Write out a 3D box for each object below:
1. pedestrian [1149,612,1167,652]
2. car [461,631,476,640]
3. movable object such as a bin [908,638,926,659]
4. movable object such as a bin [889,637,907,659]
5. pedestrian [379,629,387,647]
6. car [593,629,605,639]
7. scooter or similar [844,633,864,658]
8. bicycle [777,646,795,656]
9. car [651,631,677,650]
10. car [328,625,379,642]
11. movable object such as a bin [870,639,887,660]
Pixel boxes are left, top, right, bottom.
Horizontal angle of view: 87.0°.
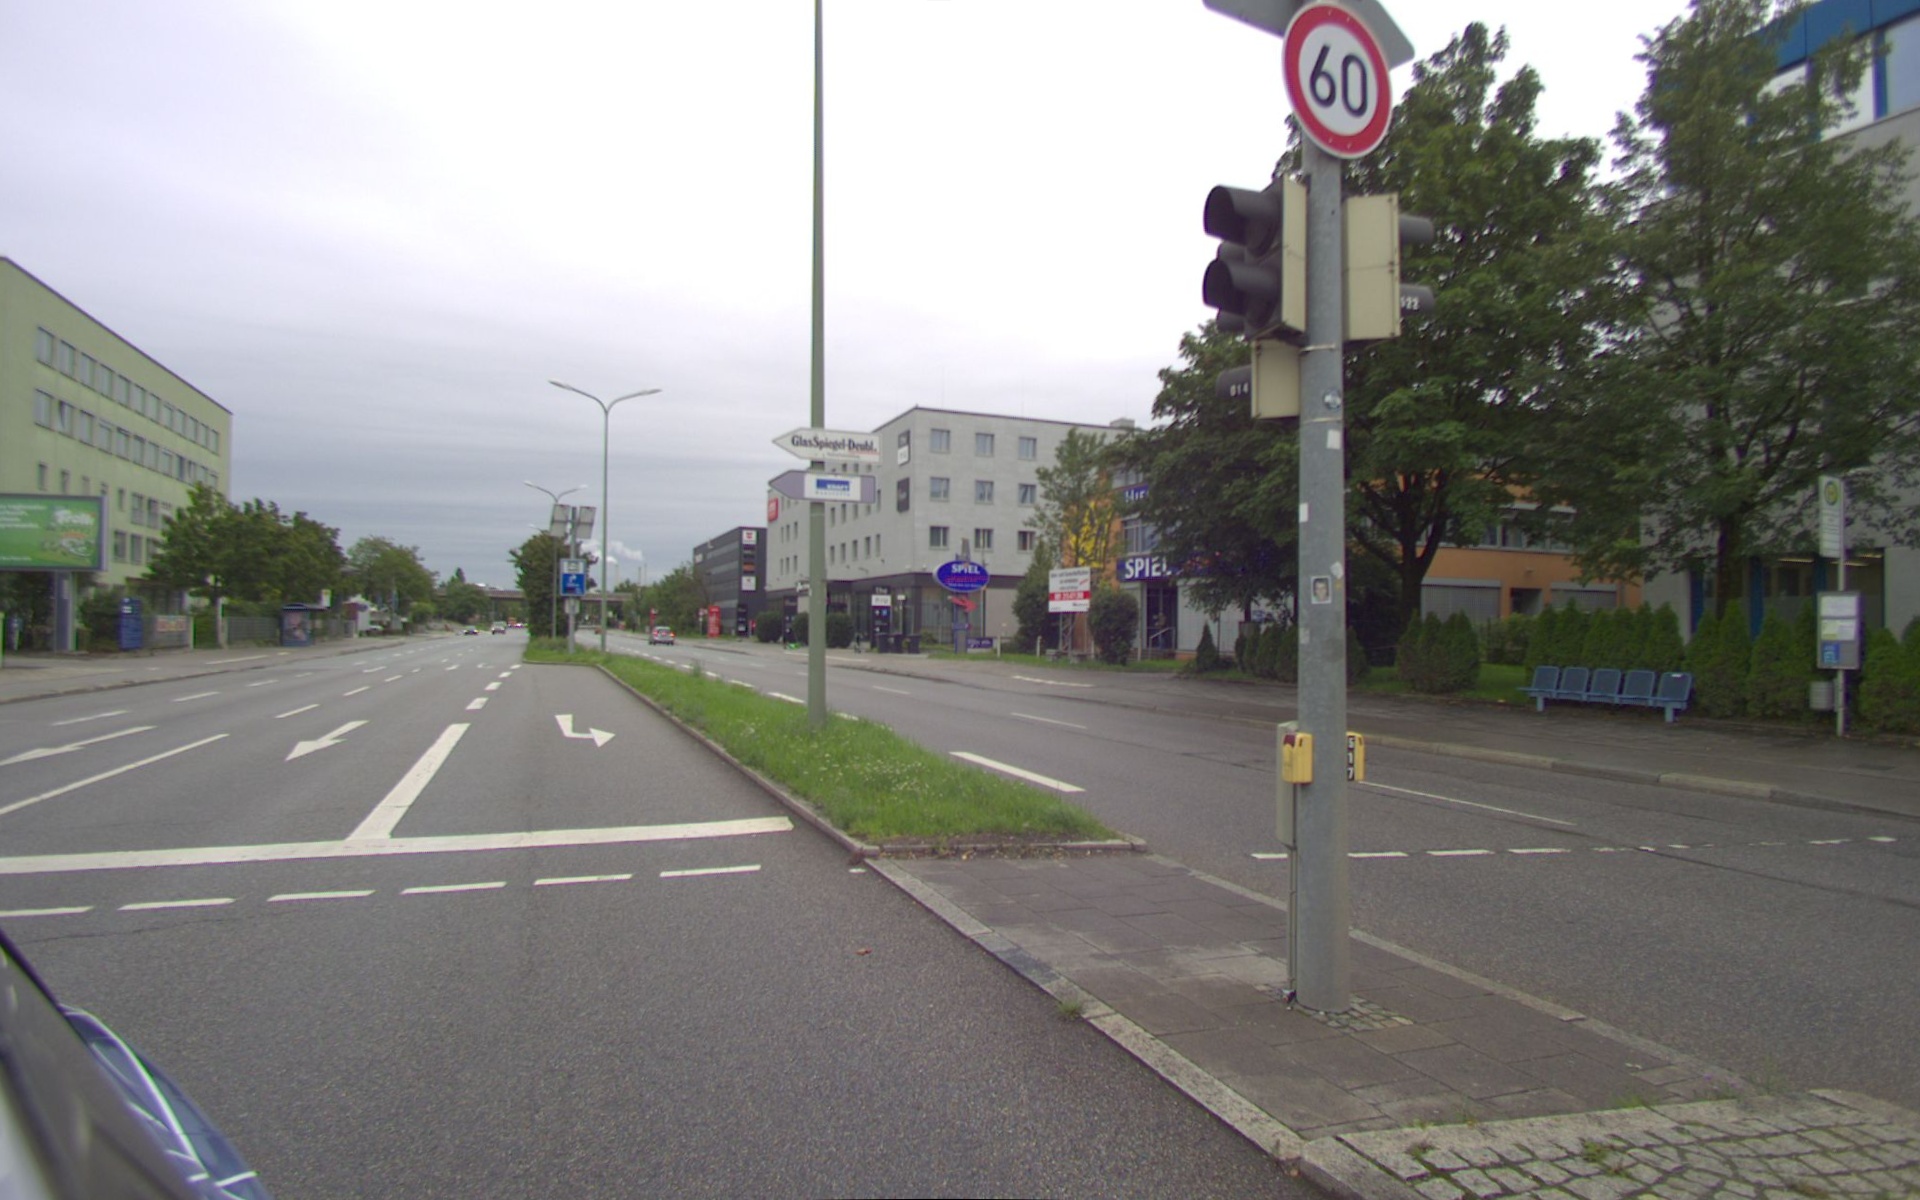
[{"bbox_3d":[8.629,1.389,44.093,0.651,1.725,0.662,-1,-1,0],"label":"pedestrian"},{"bbox_3d":[-73.805,5.315,152.016,1.965,1.412,4.670,0,-1,-24],"label":"car"},{"bbox_3d":[-2.257,2.562,53.210,0.726,1.086,0.657,0,-1,-22],"label":"movable object such as a bin"},{"bbox_3d":[-3.234,2.482,52.609,0.726,1.086,0.657,0,-1,-22],"label":"movable object such as a bin"},{"bbox_3d":[-59.720,3.902,104.758,0.671,1.835,0.690,0,-2,-24],"label":"pedestrian"},{"bbox_3d":[-62.627,5.869,175.477,1.711,1.560,4.318,2,-2,-23],"label":"car"},{"bbox_3d":[-5.727,2.440,54.703,0.577,1.287,1.408,-4,0,-23],"label":"scooter or similar"},{"bbox_3d":[-11.071,3.216,64.220,0.709,0.553,1.738,-3,0,-23],"label":"bicycle"},{"bbox_3d":[-25.922,3.533,88.671,1.788,1.569,4.039,2,-2,-22],"label":"car"},{"bbox_3d":[-67.273,3.718,112.310,1.802,1.856,4.579,-2,-2,44],"label":"car"},{"bbox_3d":[-4.285,2.593,53.022,0.726,1.086,0.657,0,-1,-22],"label":"movable object such as a bin"}]
